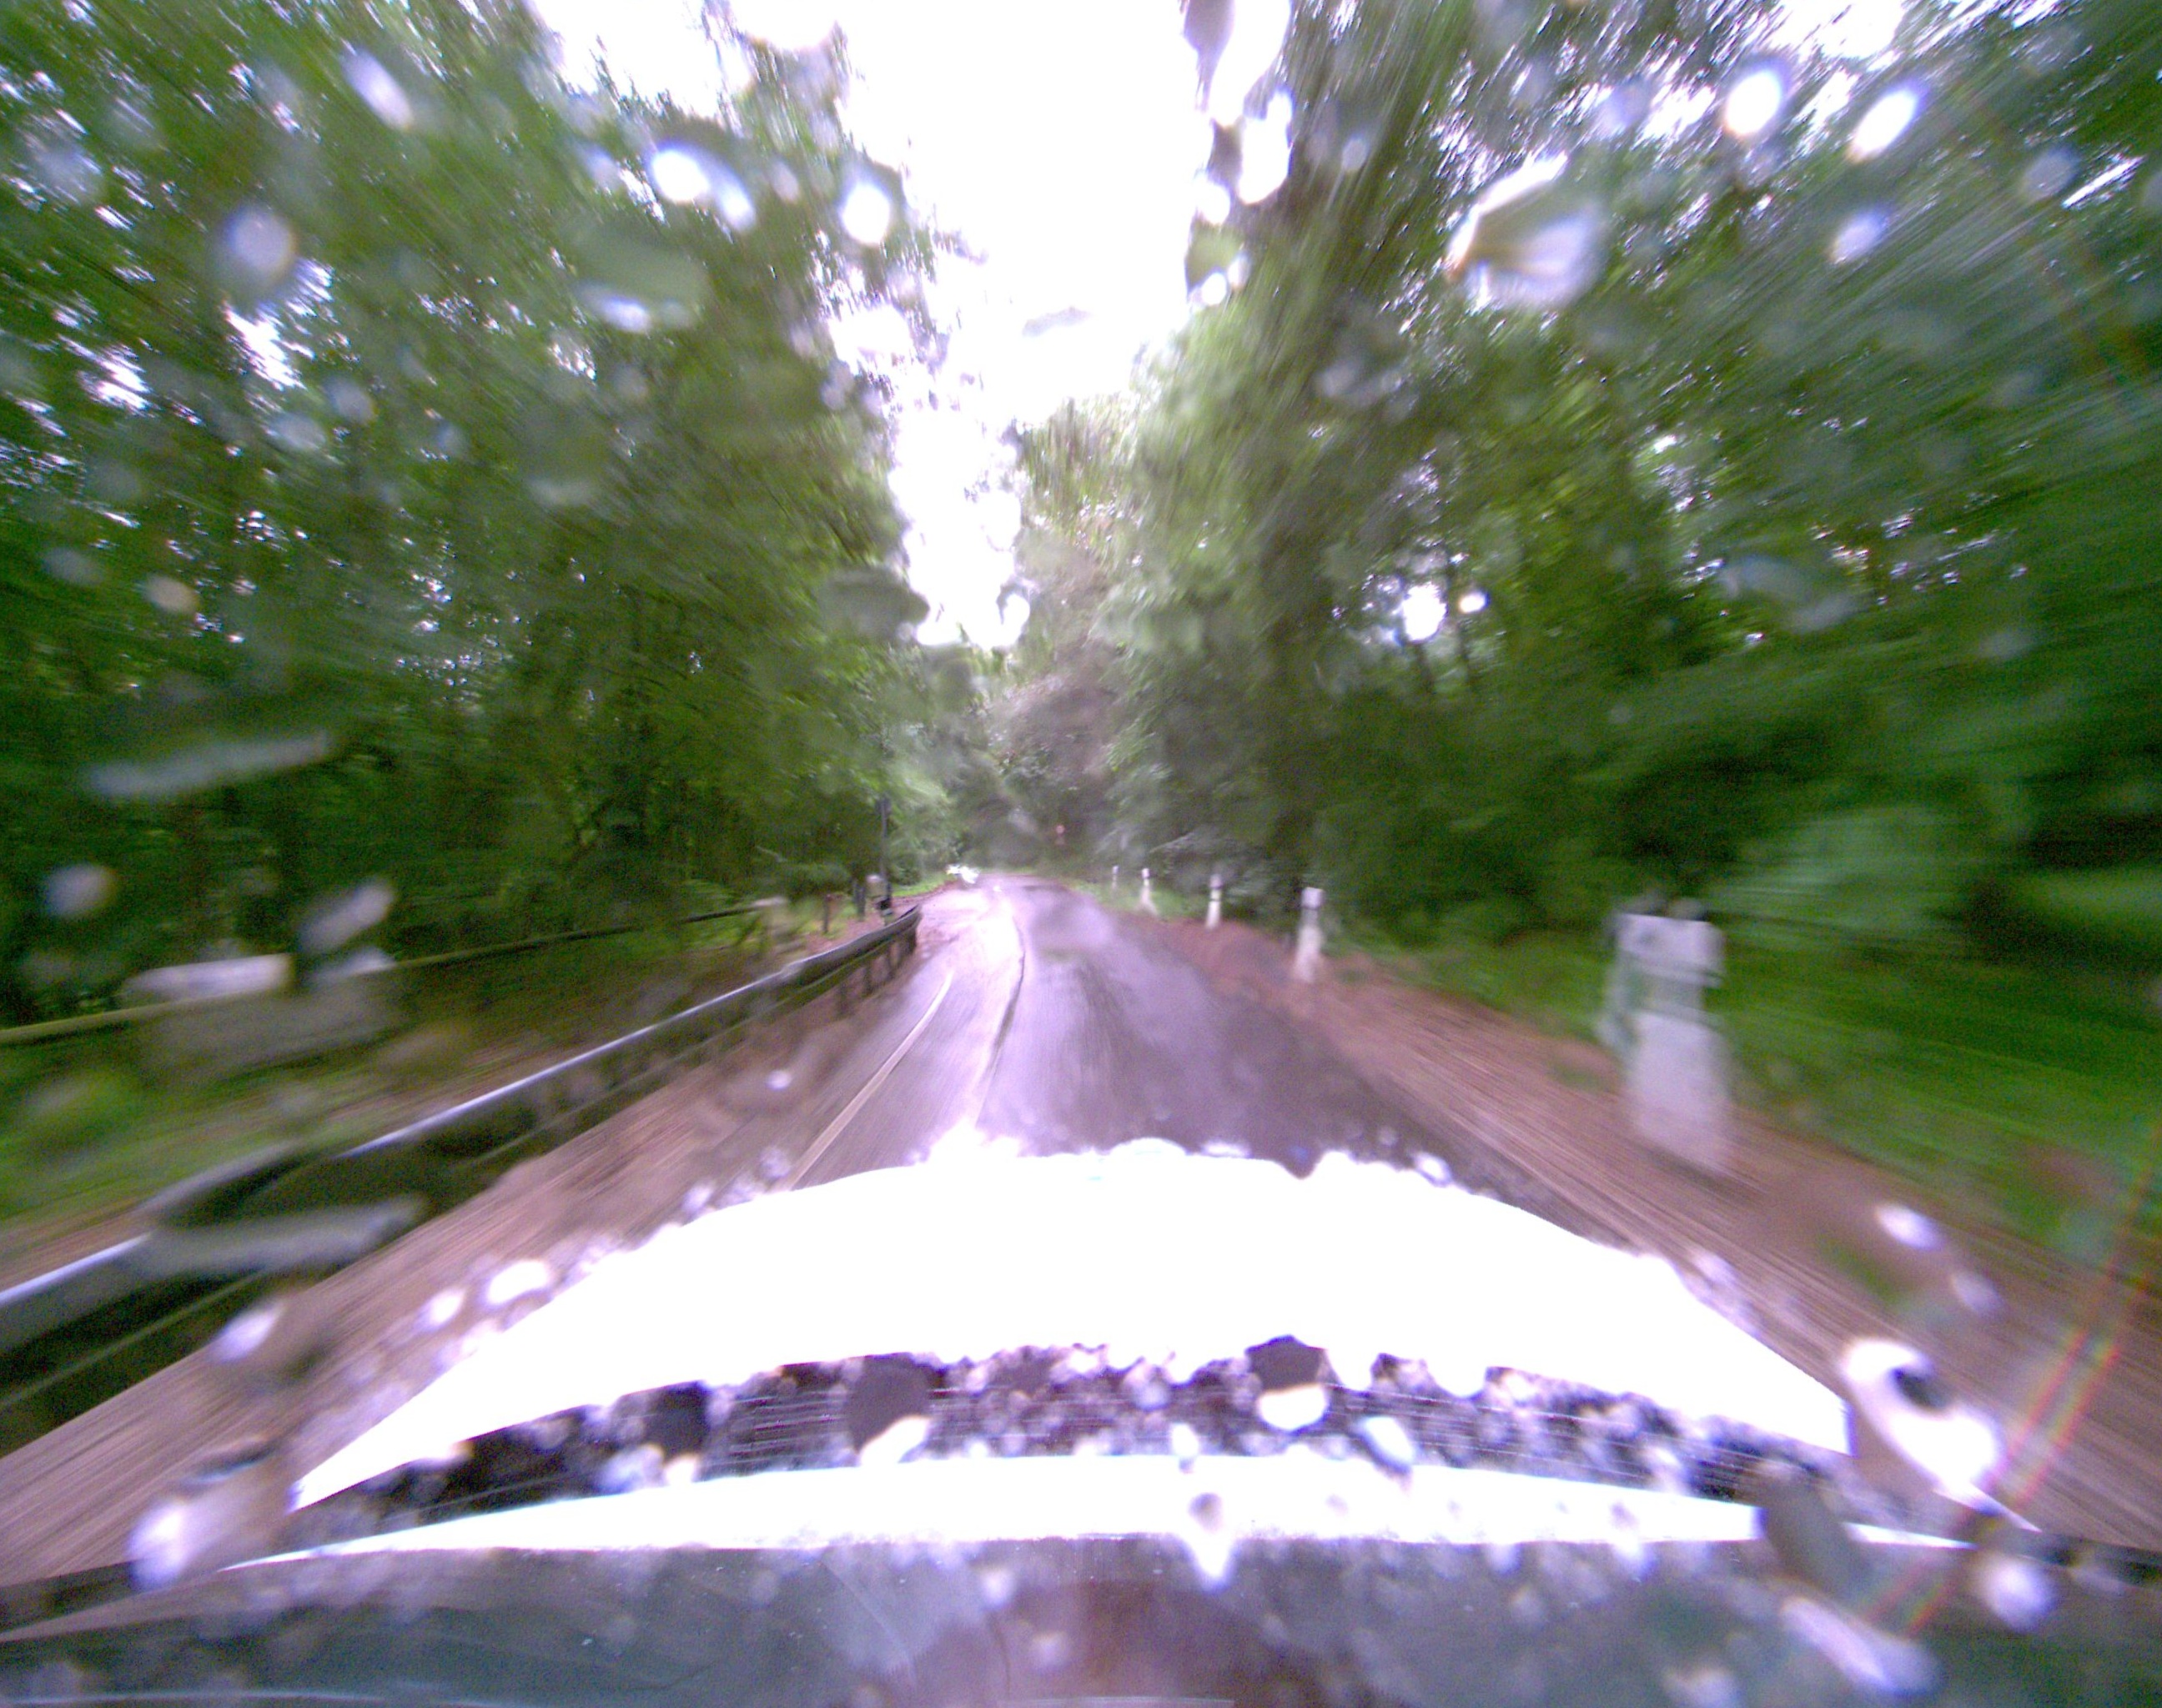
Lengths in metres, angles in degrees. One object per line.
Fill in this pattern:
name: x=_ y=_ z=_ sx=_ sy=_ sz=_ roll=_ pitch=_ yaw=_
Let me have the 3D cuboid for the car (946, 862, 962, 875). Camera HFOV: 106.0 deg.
car: x=-15.212 y=1.685 z=97.382 sx=1.715 sy=1.475 sz=3.876 roll=-2 pitch=0 yaw=-11
